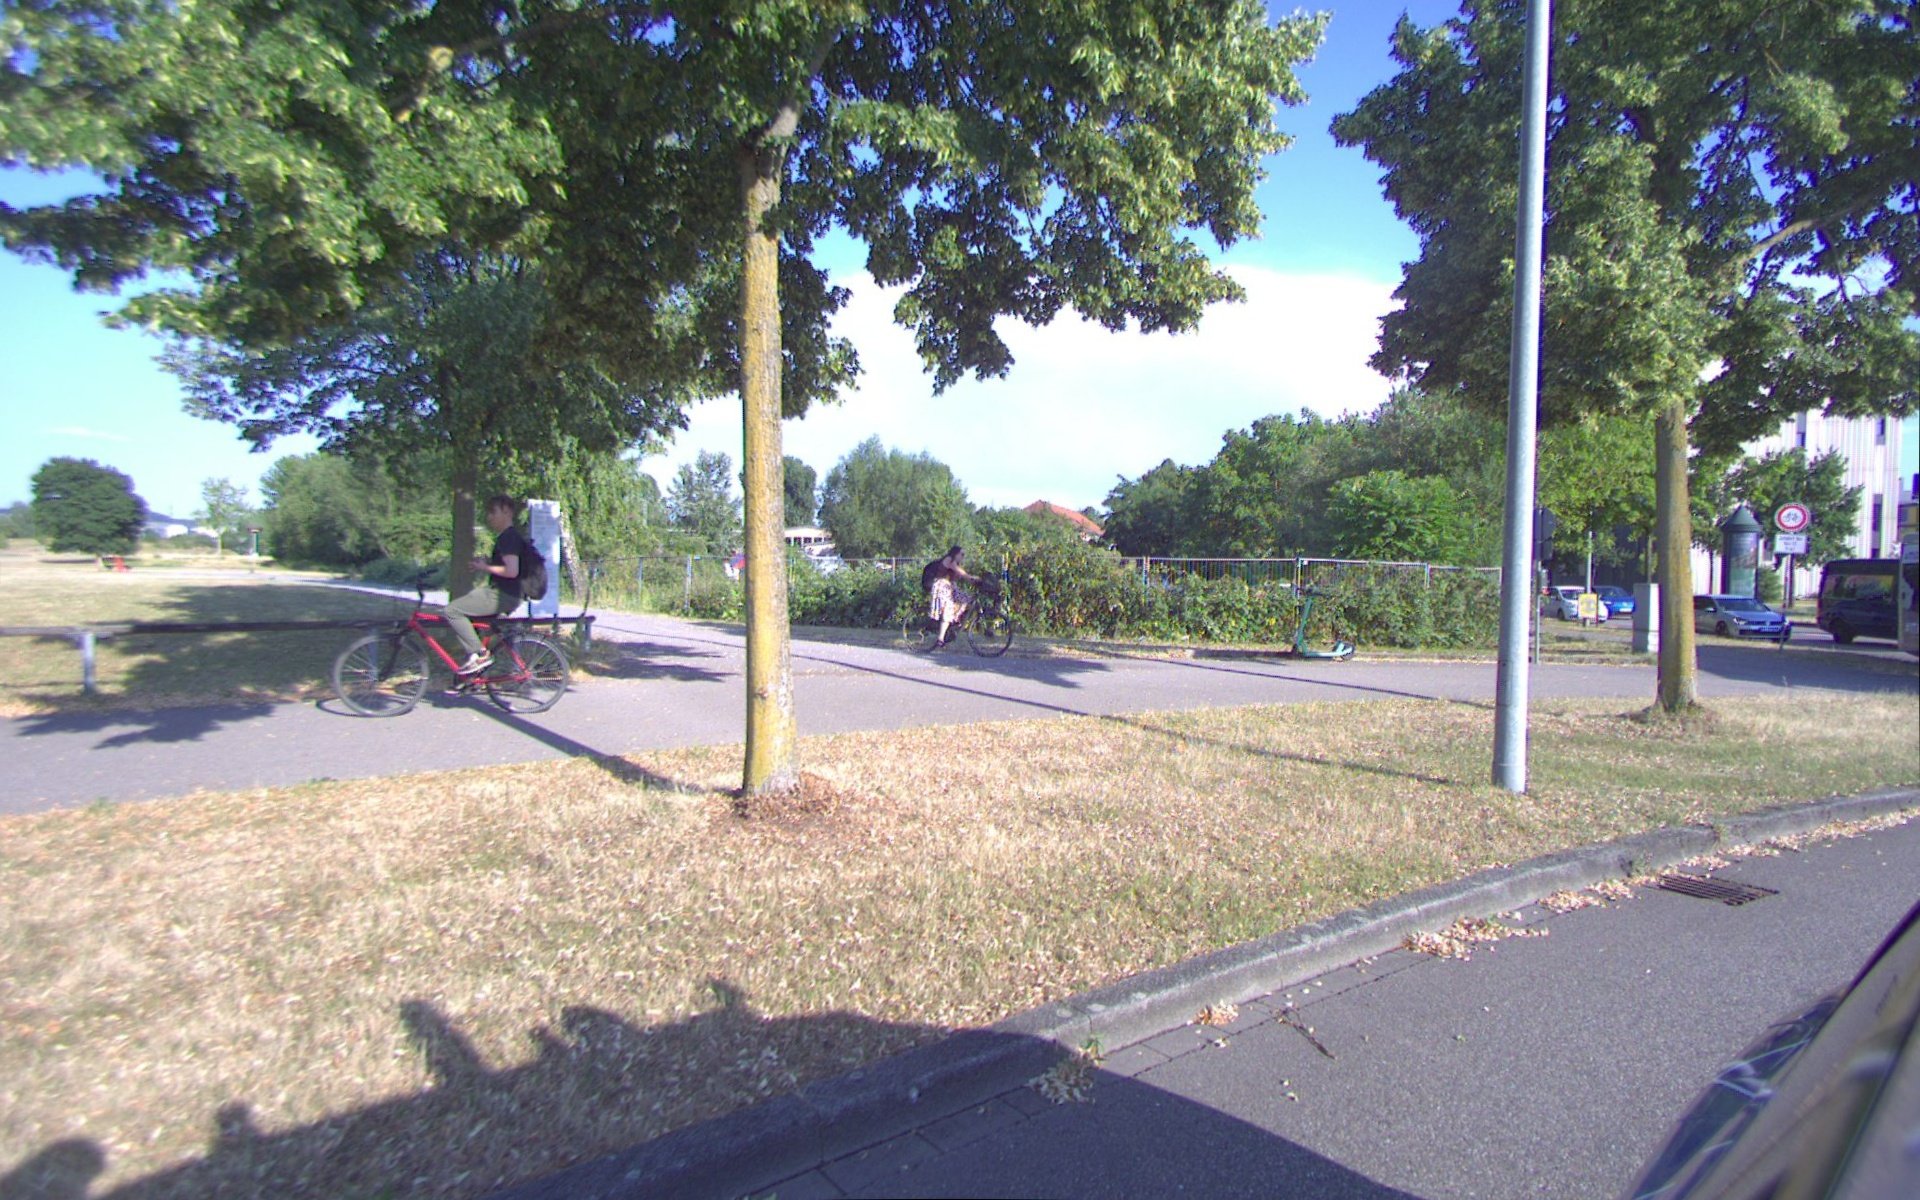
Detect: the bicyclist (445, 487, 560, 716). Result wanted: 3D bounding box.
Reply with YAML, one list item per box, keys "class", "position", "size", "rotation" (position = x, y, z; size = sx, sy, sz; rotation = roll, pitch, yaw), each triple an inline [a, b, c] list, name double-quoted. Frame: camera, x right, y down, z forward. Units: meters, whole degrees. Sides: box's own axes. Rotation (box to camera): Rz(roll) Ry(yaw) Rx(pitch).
- class: "bicyclist"
  position: [-3.912, 0.008, 8.644]
  size: [0.813, 1.852, 0.622]
  rotation: [1, 2, -29]

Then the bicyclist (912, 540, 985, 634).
- class: "bicyclist"
  position: [-0.170, -0.212, 15.320]
  size: [0.967, 1.380, 0.556]
  rotation: [1, 1, 18]

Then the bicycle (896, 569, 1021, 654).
- class: "bicycle"
  position: [-0.028, 0.148, 15.245]
  size: [1.805, 1.170, 0.489]
  rotation: [3, 2, 19]

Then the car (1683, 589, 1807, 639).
- class: "car"
  position: [25.128, 0.412, 32.563]
  size: [1.560, 1.441, 3.618]
  rotation: [1, 1, 9]

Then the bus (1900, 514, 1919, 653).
- class: "bus"
  position: [20.493, -0.242, 17.299]
  size: [2.567, 3.080, 11.632]
  rotation: [0, 1, 23]

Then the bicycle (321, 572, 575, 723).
- class: "bicycle"
  position: [-4.260, 0.377, 8.519]
  size: [1.852, 1.172, 0.417]
  rotation: [1, 2, -28]

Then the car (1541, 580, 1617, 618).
- class: "car"
  position: [27.542, -0.097, 45.140]
  size: [1.560, 1.581, 3.618]
  rotation: [1, 1, 9]

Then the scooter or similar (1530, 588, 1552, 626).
- class: "scooter or similar"
  position: [17.904, 0.199, 31.183]
  size: [0.246, 1.140, 1.090]
  rotation: [4, 2, 15]

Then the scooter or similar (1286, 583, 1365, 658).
- class: "scooter or similar"
  position: [5.916, 0.326, 16.392]
  size: [1.146, 1.174, 0.343]
  rotation: [1, 1, -8]
